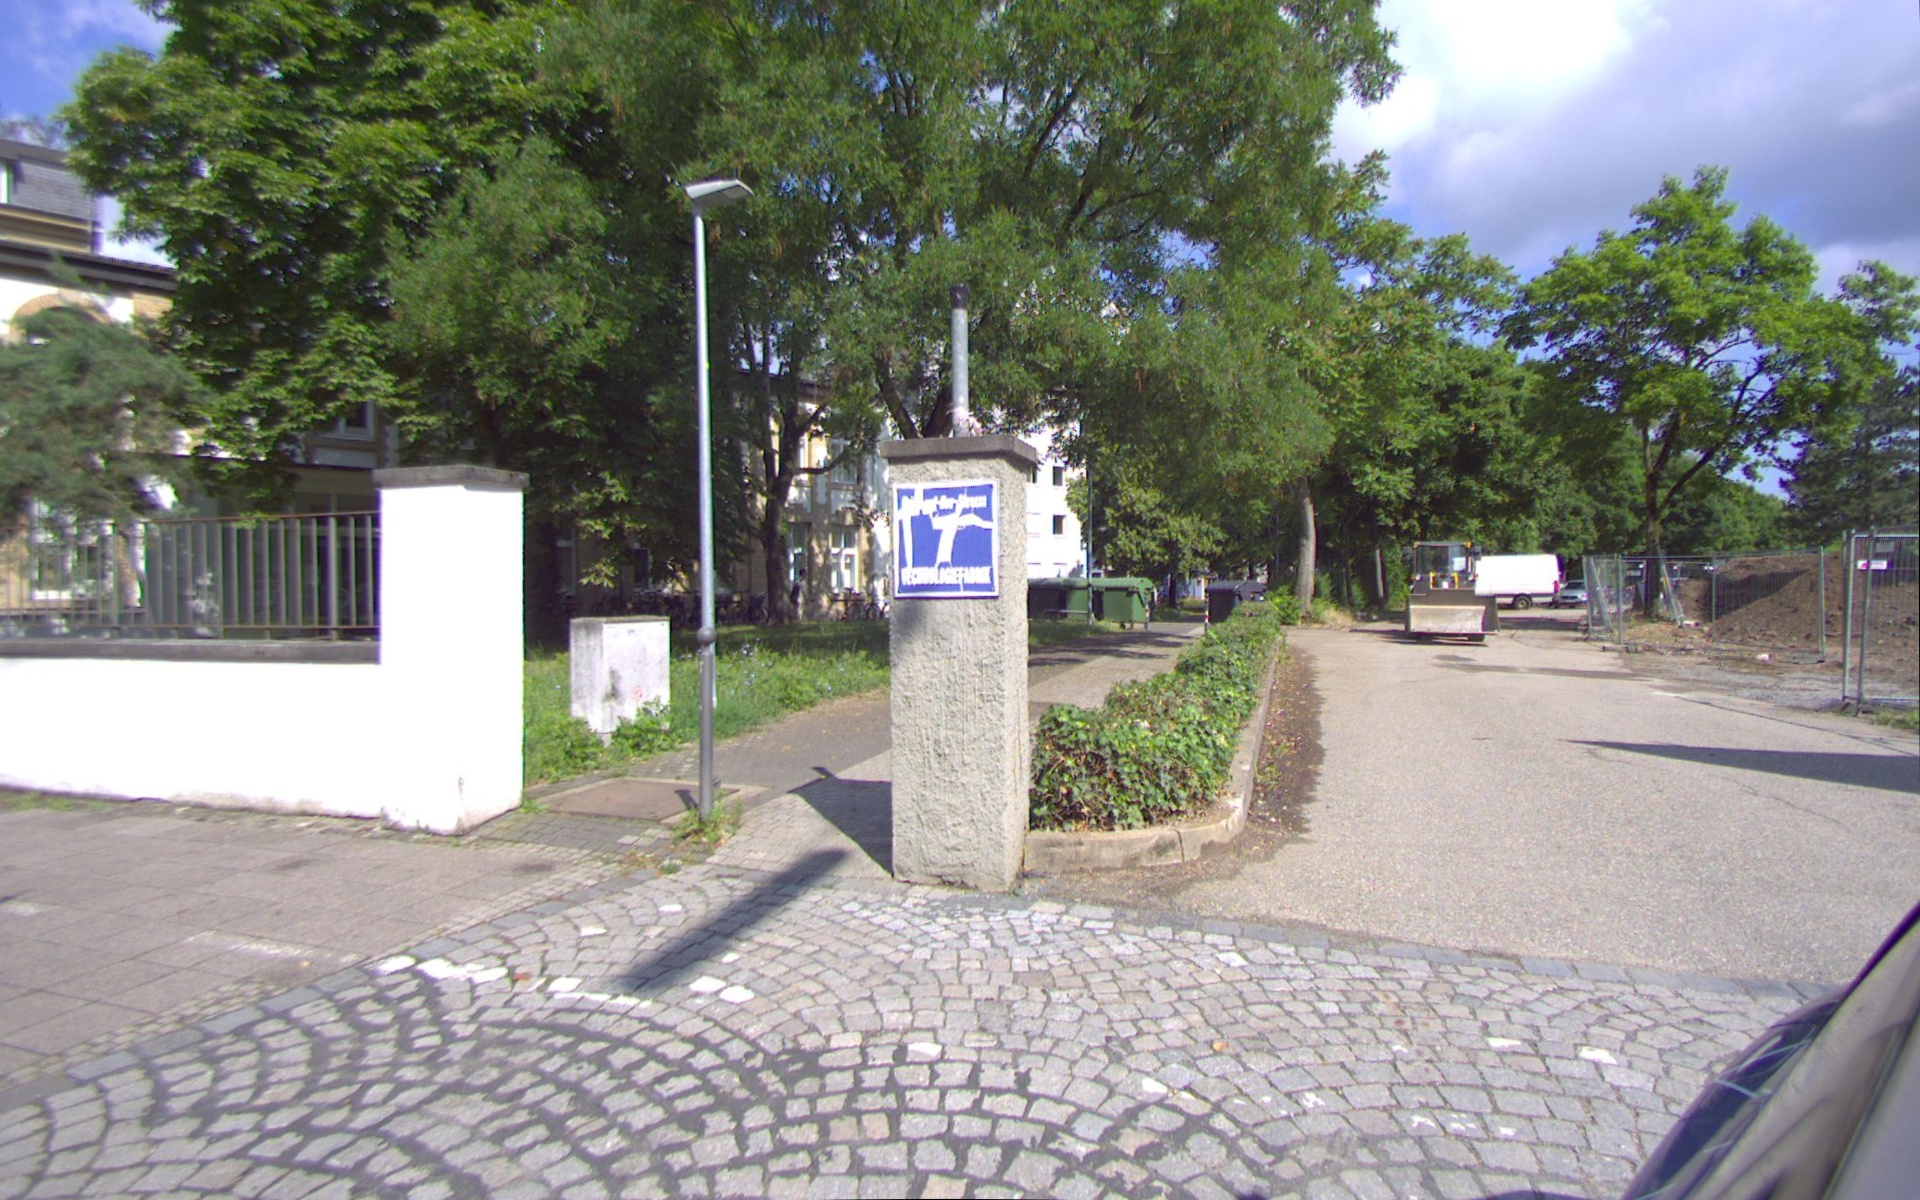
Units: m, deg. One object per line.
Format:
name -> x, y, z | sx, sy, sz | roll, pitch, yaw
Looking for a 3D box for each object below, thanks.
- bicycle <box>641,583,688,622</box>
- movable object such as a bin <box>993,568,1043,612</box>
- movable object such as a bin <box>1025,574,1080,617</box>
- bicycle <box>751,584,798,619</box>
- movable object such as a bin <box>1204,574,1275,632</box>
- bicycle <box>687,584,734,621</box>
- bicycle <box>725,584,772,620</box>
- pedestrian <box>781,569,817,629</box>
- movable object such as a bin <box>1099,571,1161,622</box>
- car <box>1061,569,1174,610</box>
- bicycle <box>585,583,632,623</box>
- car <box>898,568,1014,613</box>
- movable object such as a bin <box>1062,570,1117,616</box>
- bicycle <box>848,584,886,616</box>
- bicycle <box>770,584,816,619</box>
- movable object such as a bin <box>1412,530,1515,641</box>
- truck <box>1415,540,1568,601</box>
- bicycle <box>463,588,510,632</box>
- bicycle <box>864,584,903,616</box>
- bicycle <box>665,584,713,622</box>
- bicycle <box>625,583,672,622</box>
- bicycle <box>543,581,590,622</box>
bicycle -> -8.103, 0.061, 27.744 | 0.420, 1.000, 1.816 | 1, 1, -45
movable object such as a bin -> 1.778, -0.330, 31.115 | 1.187, 1.309, 0.988 | 1, 2, 43
movable object such as a bin -> 2.741, -0.159, 30.048 | 1.269, 1.235, 1.013 | 1, 2, 43
bicycle -> -5.581, 0.040, 30.359 | 0.420, 1.000, 1.816 | 1, 1, -45
movable object such as a bin -> 6.922, 0.040, 25.127 | 1.107, 1.374, 1.326 | -1, 2, -25
bicycle -> -7.132, 0.050, 28.838 | 0.420, 1.000, 1.816 | 1, 1, -45
bicycle -> -6.215, 0.036, 29.621 | 0.420, 1.000, 1.816 | 1, 1, -45
pedestrian -> -4.540, -0.037, 28.524 | 0.568, 1.643, 0.845 | 0, 1, 42
movable object such as a bin -> 4.718, -0.123, 28.079 | 1.362, 1.369, 1.077 | 1, 2, 43
car -> 6.180, -0.448, 39.281 | 1.805, 1.515, 5.012 | 0, 1, 44
bicycle -> -9.254, 0.056, 26.622 | 0.420, 1.000, 1.816 | 1, 1, -45
car -> -0.136, -0.440, 44.679 | 5.002, 1.886, 2.037 | -1, 1, -40
movable object such as a bin -> 3.714, -0.215, 29.065 | 1.252, 1.281, 0.985 | 1, 2, 43
bicycle -> -3.031, -0.019, 32.800 | 0.420, 1.000, 1.455 | 1, 1, -43
bicycle -> -5.103, 0.032, 30.886 | 0.420, 1.000, 1.816 | 1, 1, -45
movable object such as a bin -> 12.537, -0.452, 25.498 | 1.978, 2.473, 5.391 | 2, 3, 24
truck -> 25.939, -1.450, 49.479 | 6.508, 2.811, 1.979 | 1, 4, 33
bicycle -> -11.436, 0.237, 24.413 | 0.420, 1.000, 1.816 | 1, 1, -45
bicycle -> -2.531, -0.018, 33.220 | 0.420, 1.000, 1.454 | 1, 1, -45
bicycle -> -7.582, 0.064, 28.261 | 0.420, 1.000, 1.816 | 1, 1, -45
bicycle -> -8.414, 0.059, 27.305 | 0.420, 1.000, 1.816 | 1, 1, -45
bicycle -> -10.065, 0.033, 25.861 | 0.420, 1.000, 1.816 | 1, 1, -45
